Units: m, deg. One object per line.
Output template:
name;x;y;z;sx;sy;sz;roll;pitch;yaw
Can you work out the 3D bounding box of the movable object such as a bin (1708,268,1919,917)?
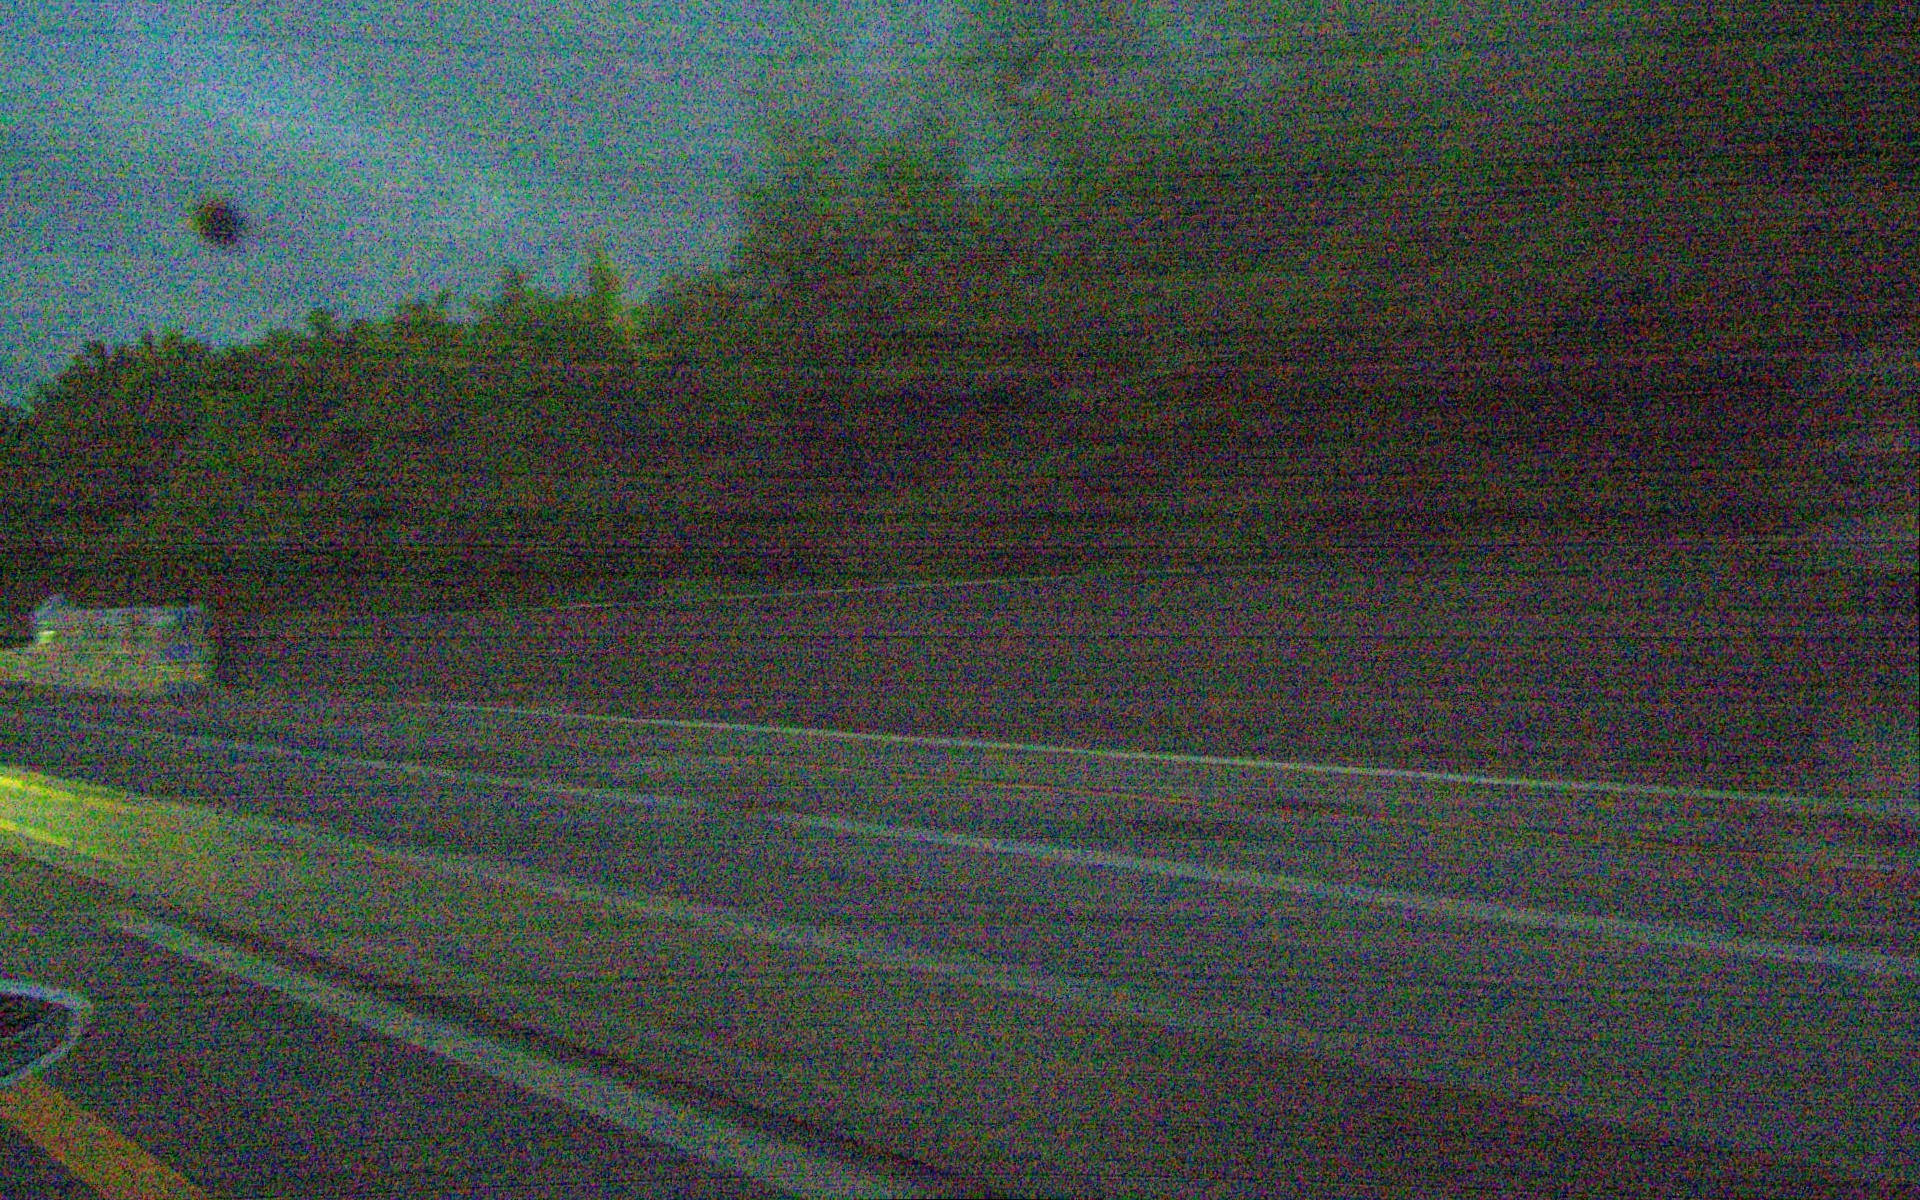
movable object such as a bin;7.293;-0.072;4.757;5.722;3.149;2.616;-1;0;32
